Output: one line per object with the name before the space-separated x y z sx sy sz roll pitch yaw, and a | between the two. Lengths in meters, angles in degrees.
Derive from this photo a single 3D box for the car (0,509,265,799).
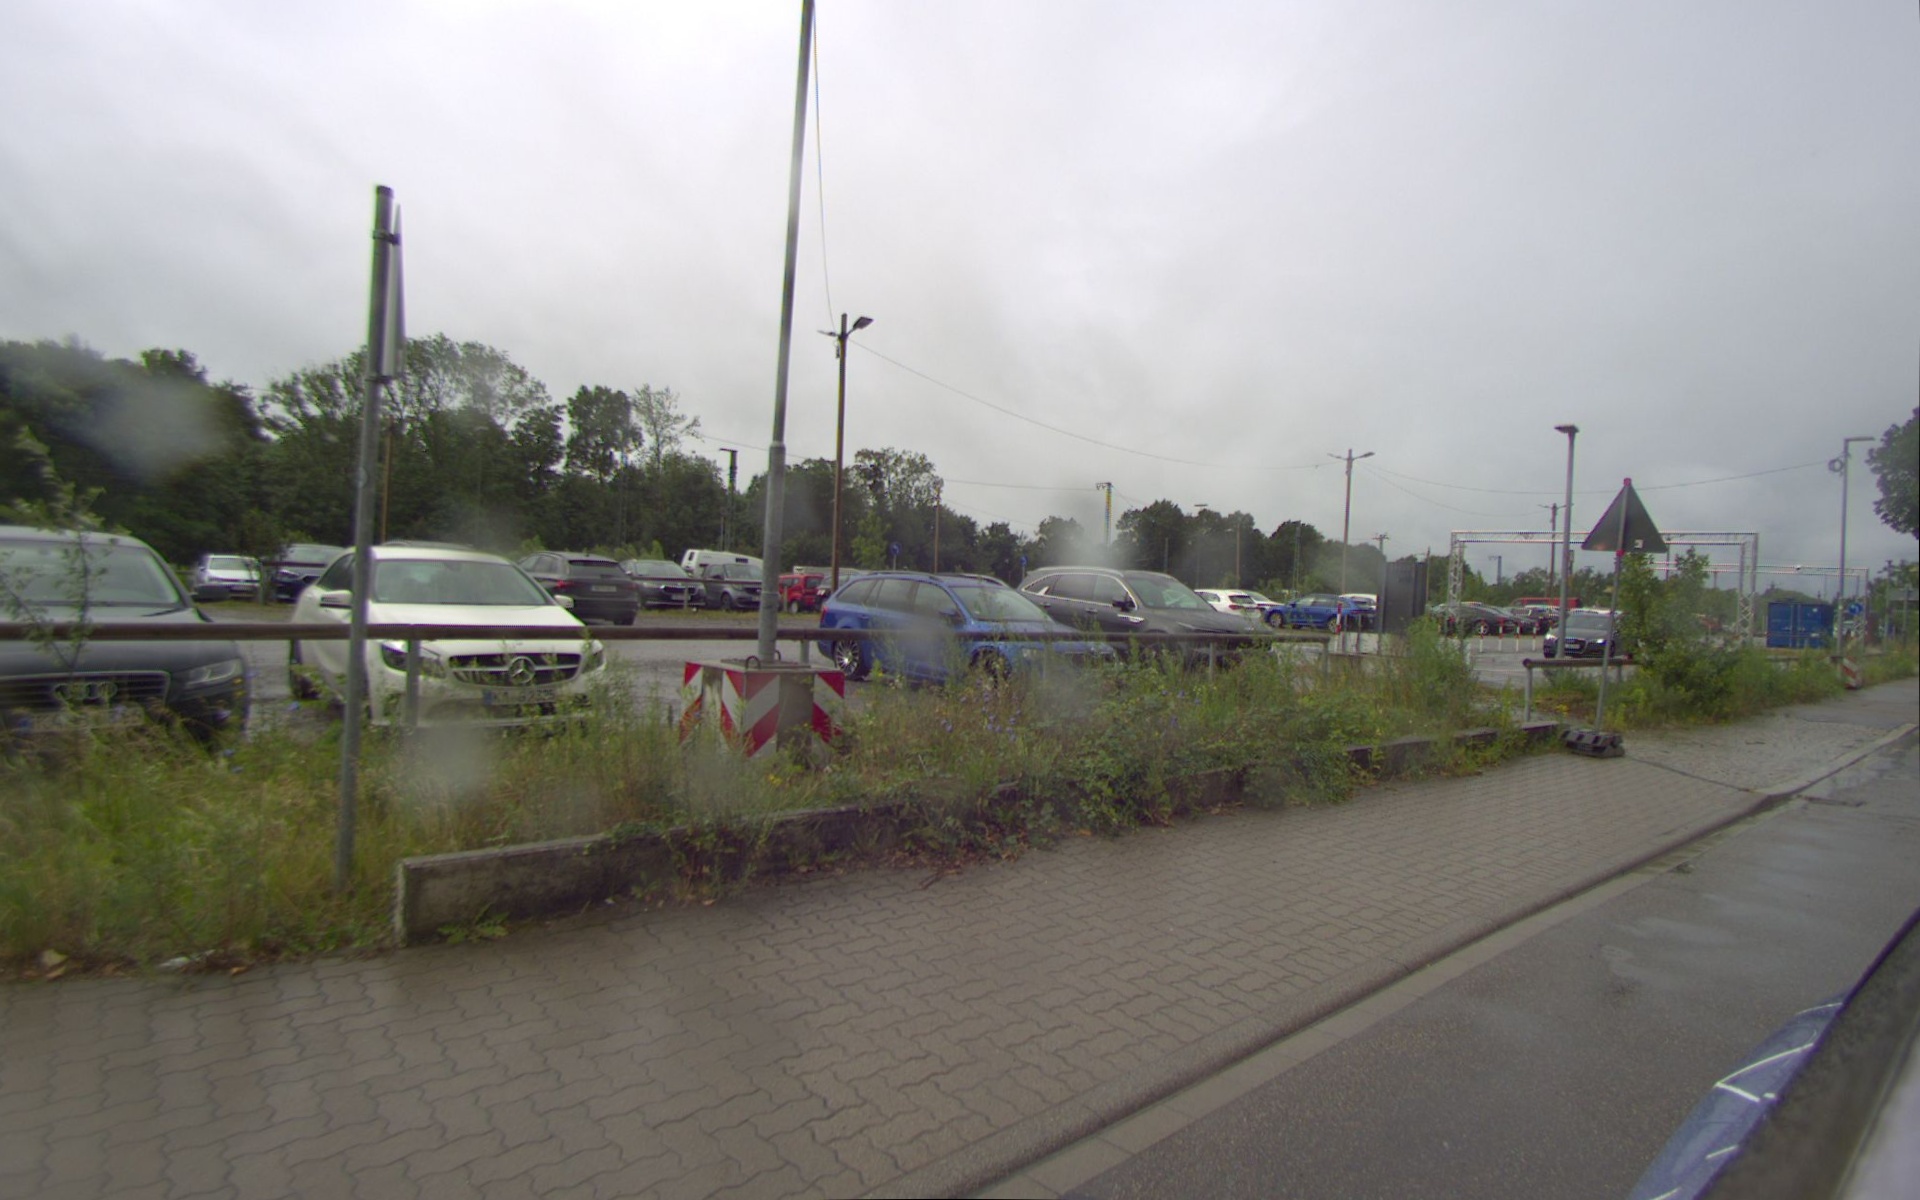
car | -6.436 0.149 6.869 4.217 1.417 1.862 7 4 42

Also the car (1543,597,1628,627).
car | 38.037 0.728 61.582 1.745 1.508 3.964 1 3 -38

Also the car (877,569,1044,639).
car | -0.050 0.070 28.608 4.620 1.737 1.987 3 1 44

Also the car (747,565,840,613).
car | -7.227 -0.483 43.709 3.984 1.791 1.764 4 1 41

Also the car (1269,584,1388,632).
car | 14.878 0.297 41.023 1.892 1.501 4.059 1 4 -38

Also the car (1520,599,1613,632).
car | 33.677 0.825 56.248 1.836 1.508 3.964 1 3 -38

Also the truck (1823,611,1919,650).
truck | 64.471 2.107 71.521 2.074 2.433 5.040 2 1 -43

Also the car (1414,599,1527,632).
car | 25.295 0.737 50.305 1.944 1.236 4.597 1 4 -41

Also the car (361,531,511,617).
car | -12.486 -0.658 23.965 2.009 1.692 4.449 1 4 -43

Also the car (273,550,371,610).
car | -20.148 -0.673 31.853 1.907 1.588 4.597 4 0 -40

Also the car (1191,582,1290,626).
car | 13.035 0.151 47.179 1.801 1.679 4.069 1 4 -42

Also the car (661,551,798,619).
car | -6.849 -0.480 29.771 2.008 1.624 4.452 1 4 -41

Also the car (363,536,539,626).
car | -9.220 -0.355 18.175 1.964 1.426 3.996 1 1 -40

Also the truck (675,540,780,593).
truck | -12.430 -1.773 54.203 4.994 2.431 2.076 3 1 -41

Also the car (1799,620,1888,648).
car | 52.031 1.965 59.663 1.873 1.410 3.776 1 1 -43

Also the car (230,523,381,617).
car | -14.391 -0.702 22.139 2.009 1.692 4.449 1 4 -43

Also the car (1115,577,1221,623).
car | 8.844 -0.019 43.298 1.892 1.624 4.072 1 4 -39

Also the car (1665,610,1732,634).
car | 58.954 1.718 80.830 1.774 1.555 3.964 1 3 -38

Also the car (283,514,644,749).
car | -4.491 0.143 8.788 1.857 1.528 4.191 1 1 -40

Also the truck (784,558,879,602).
truck | -7.418 -1.133 58.592 4.987 2.164 2.079 3 1 -36

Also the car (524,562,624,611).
car | -14.134 -0.515 36.951 3.984 1.511 1.688 4 1 41

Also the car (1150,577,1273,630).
car | 8.906 0.085 36.027 1.892 1.501 3.843 1 4 -38

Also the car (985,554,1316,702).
car | 2.654 0.290 15.243 2.088 1.756 4.698 1 3 -36

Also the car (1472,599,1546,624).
car | 36.984 0.775 68.258 1.647 1.336 3.997 2 2 -41

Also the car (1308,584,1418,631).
car | 17.046 0.283 42.985 1.753 1.602 3.917 1 4 -38

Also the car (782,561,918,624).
car | -3.652 -0.281 32.798 2.008 1.624 4.714 1 4 -41

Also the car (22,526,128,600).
car | -24.106 -1.031 27.695 1.856 1.742 3.998 4 0 -38

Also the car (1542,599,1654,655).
car | 19.566 0.847 30.970 4.155 1.474 1.897 3 1 -43

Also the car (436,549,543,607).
car | -16.476 -0.776 35.367 3.984 1.749 1.870 4 1 40

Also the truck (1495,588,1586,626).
truck | 42.869 0.496 74.816 2.115 2.397 5.300 2 2 -41

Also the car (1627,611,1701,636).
car | 50.912 1.686 73.238 1.852 1.444 3.964 1 3 -38

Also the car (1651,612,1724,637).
car | 55.137 1.829 76.785 1.891 1.508 4.078 1 3 -38

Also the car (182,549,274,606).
car | -21.861 -0.696 30.165 1.857 1.414 3.996 4 0 -40

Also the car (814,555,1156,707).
car | 0.125 0.251 12.451 1.787 1.536 4.305 1 1 -40

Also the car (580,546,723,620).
car | -8.382 -0.502 27.228 2.008 1.624 4.452 1 4 -41

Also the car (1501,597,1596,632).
car | 31.718 0.771 54.643 1.836 1.508 3.964 1 3 -38

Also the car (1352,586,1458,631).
car | 19.406 0.335 44.259 1.753 1.602 3.788 1 4 -38

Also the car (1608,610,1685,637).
car | 47.102 1.585 69.523 1.852 1.444 3.964 1 3 -38

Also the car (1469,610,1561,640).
car | 29.101 1.287 53.172 1.616 1.236 3.903 1 3 -35

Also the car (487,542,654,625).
car | -7.938 -0.350 20.406 1.964 1.504 3.996 1 1 -40

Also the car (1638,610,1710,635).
car | 52.974 1.661 75.106 1.788 1.444 3.964 1 3 -38
